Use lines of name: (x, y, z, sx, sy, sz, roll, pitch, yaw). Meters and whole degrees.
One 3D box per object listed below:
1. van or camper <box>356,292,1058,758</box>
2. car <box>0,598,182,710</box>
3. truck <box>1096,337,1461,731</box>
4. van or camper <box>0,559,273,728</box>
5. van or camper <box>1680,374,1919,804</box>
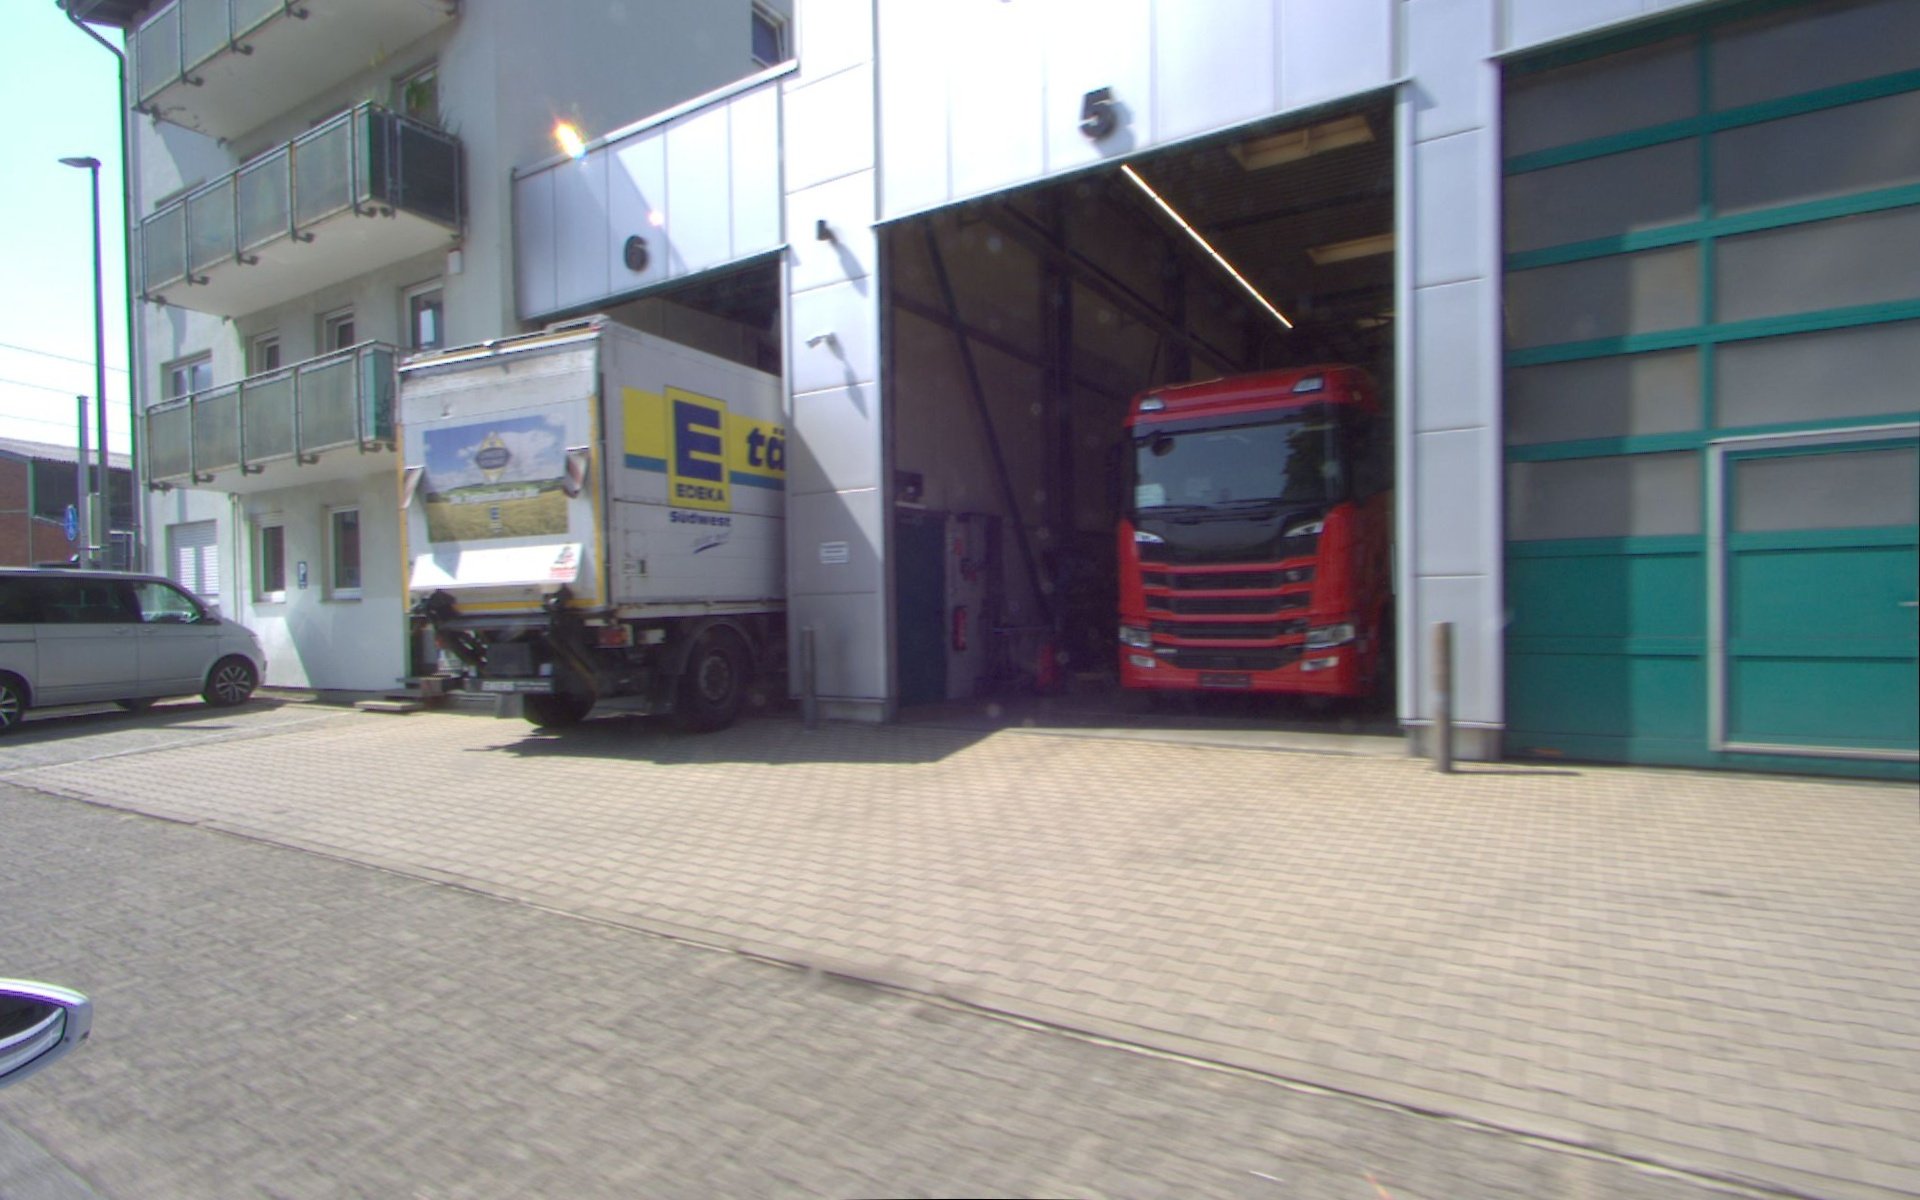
van or camper: (-1.866, -0.616, 13.908, 2.736, 3.742, 11.598, -1, 0, 25)
car: (-13.962, 0.760, 14.602, 1.844, 1.541, 3.973, -1, 0, 7)
truck: (4.561, -0.590, 12.796, 2.445, 3.449, 7.931, -1, 0, 33)
van or camper: (-11.692, 0.515, 12.930, 1.962, 1.933, 4.553, 0, 0, 12)
van or camper: (8.558, -0.069, 9.717, 1.970, 3.247, 5.036, -1, -1, 30)
